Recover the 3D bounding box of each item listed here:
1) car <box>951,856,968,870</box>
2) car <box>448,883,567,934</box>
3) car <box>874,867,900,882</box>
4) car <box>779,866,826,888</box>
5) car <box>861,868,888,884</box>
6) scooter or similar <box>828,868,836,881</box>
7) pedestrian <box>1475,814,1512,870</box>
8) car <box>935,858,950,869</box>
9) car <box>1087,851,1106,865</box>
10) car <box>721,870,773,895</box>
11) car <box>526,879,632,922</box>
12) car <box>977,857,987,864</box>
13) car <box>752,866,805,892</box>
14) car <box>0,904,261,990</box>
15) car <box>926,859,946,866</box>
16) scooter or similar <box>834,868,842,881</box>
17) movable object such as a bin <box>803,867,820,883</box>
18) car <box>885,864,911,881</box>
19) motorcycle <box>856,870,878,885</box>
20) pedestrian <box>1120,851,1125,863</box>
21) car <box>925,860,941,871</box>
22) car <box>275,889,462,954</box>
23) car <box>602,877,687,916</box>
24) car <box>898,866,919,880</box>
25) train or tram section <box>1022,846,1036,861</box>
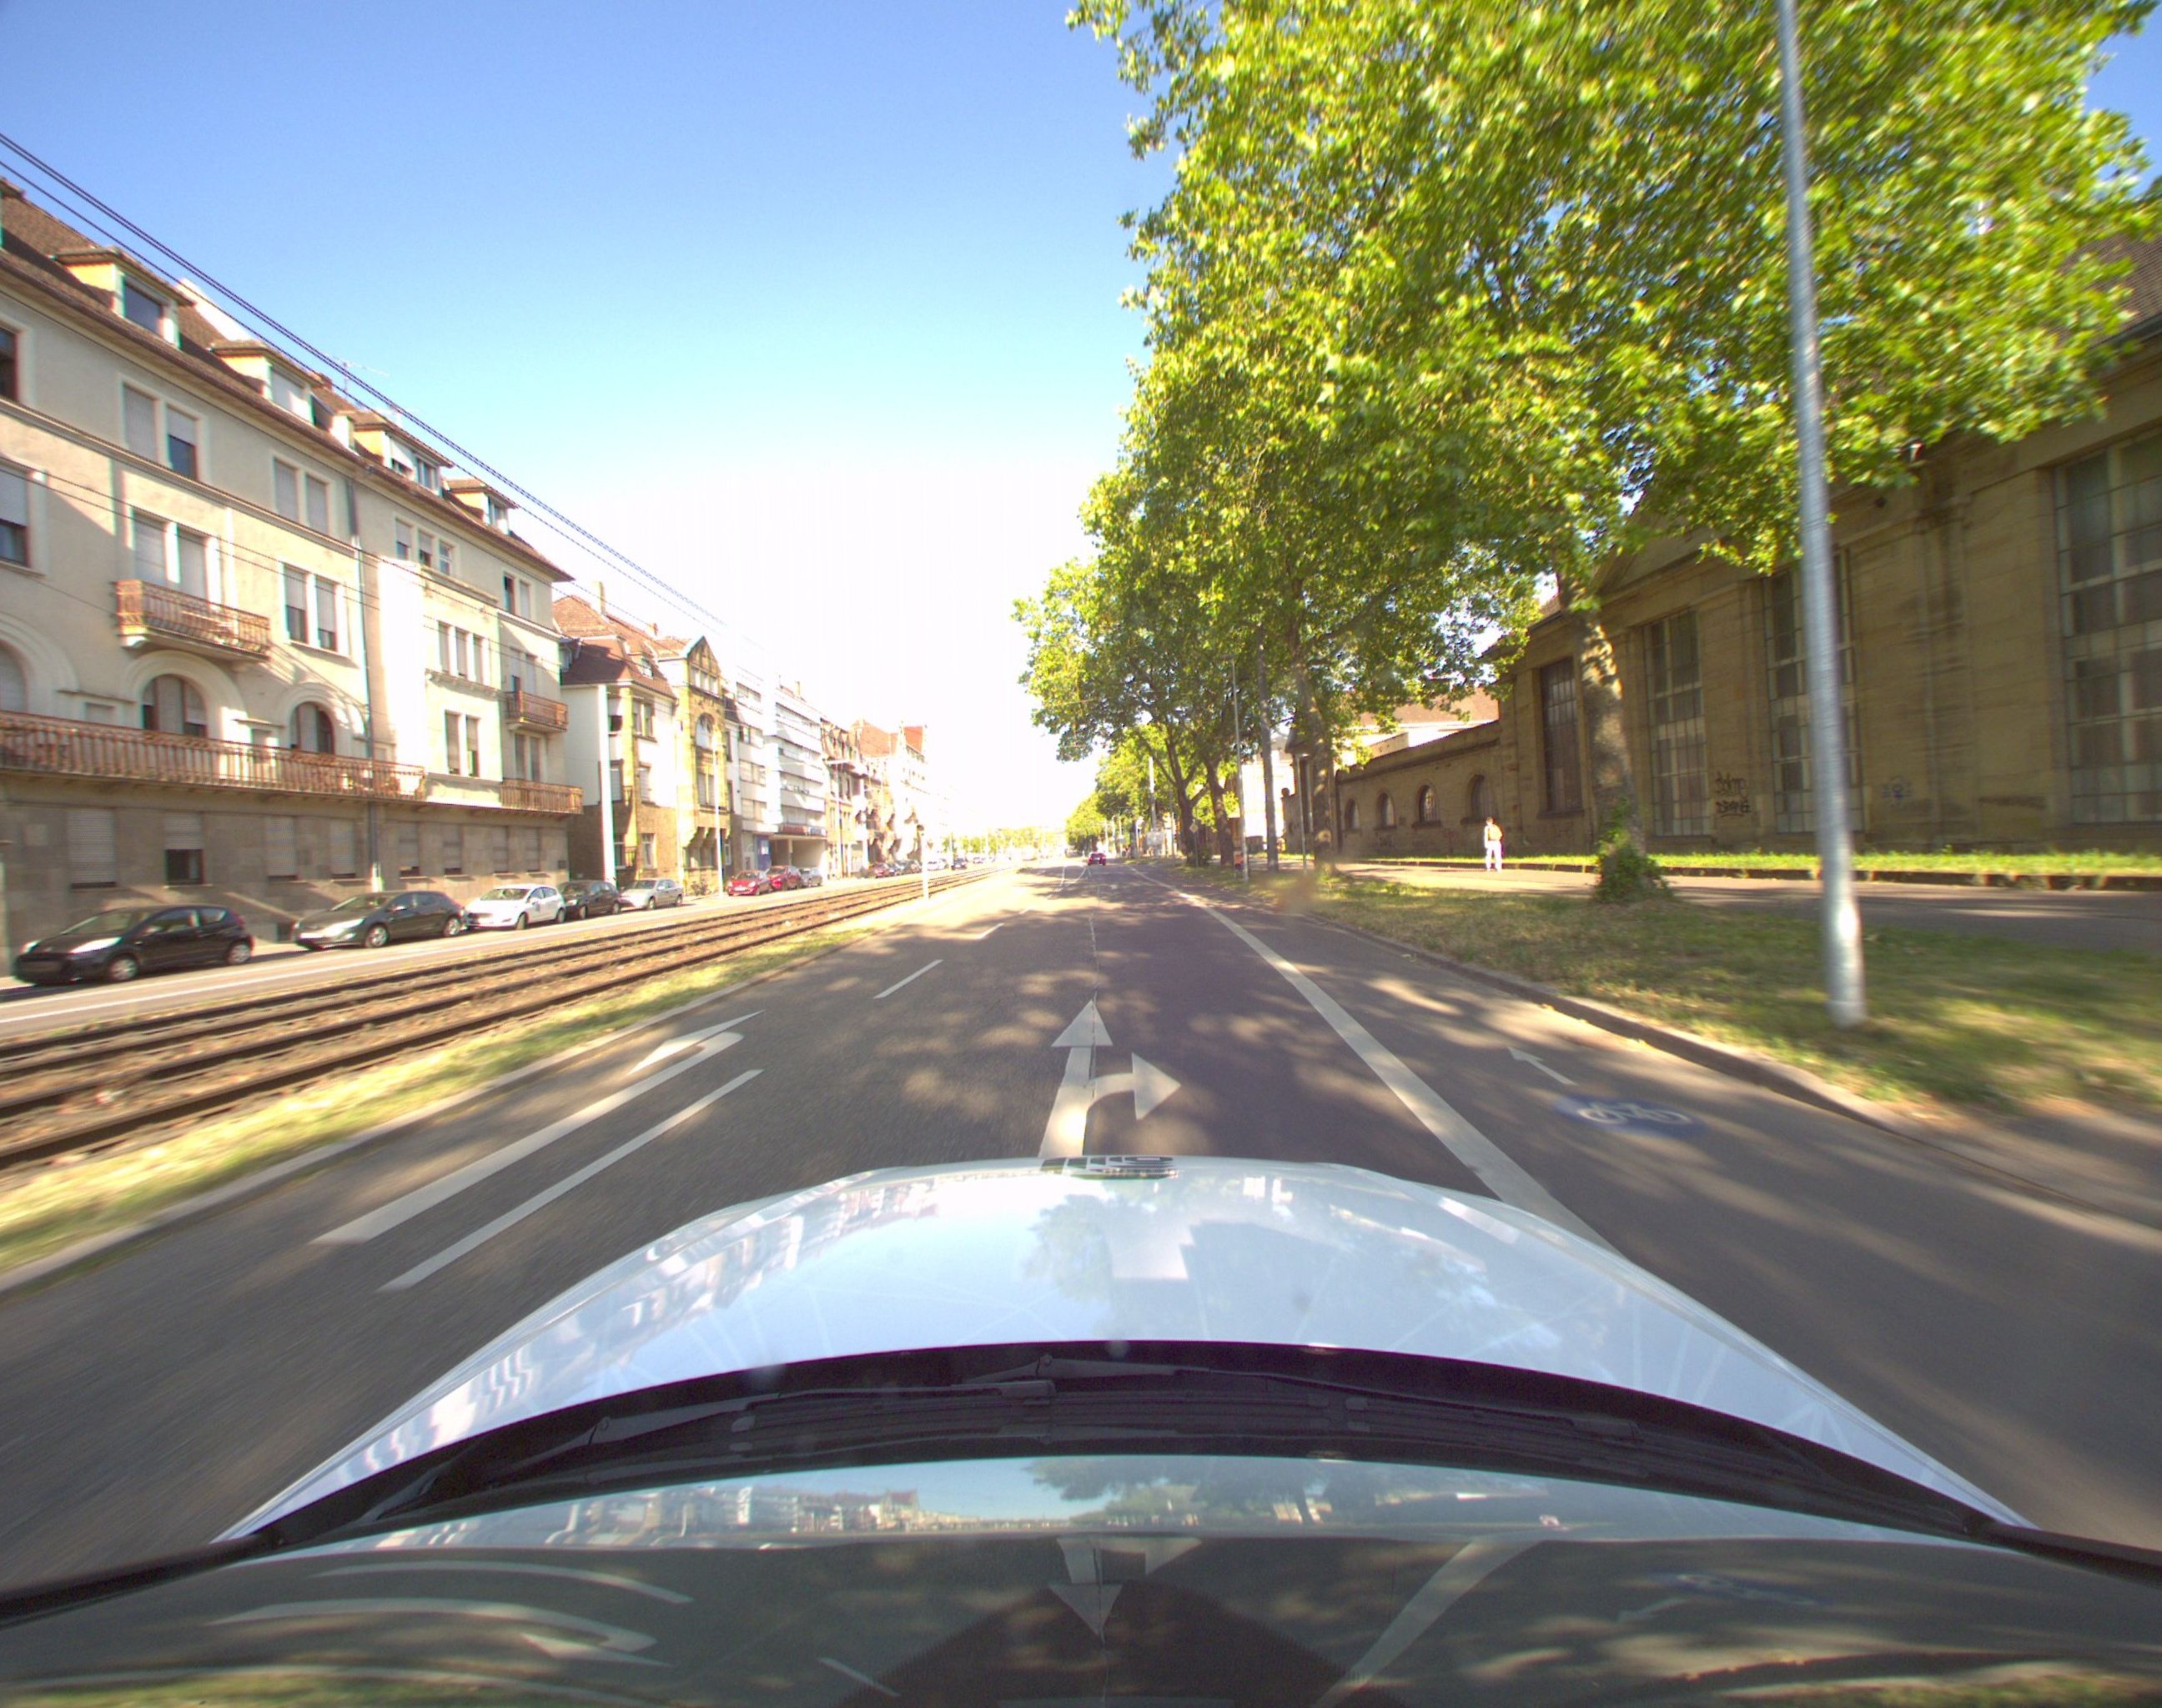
[{"bbox_3d":[-15.754,1.164,105.663,1.631,1.601,4.155,-4,0,-3],"label":"car"},{"bbox_3d":[-19.378,1.789,27.730,1.634,1.469,3.972,0,0,-8],"label":"car"},{"bbox_3d":[-20.783,2.216,87.379,1.789,1.510,3.998,0,0,-1],"label":"car"},{"bbox_3d":[-20.311,1.632,59.608,1.828,1.391,4.679,-3,0,-1],"label":"car"},{"bbox_3d":[-20.751,2.204,82.004,1.789,1.460,4.263,0,0,-2],"label":"car"},{"bbox_3d":[-23.842,1.950,78.076,0.390,1.205,1.200,0,0,0],"label":"scooter or similar"},{"bbox_3d":[12.891,-0.372,25.459,0.606,1.681,0.635,-7,0,-3],"label":"pedestrian"},{"bbox_3d":[-21.530,1.474,126.870,1.789,1.719,4.181,0,0,-2],"label":"car"},{"bbox_3d":[1.652,0.451,88.371,1.828,1.391,4.156,-3,0,-1],"label":"car"},{"bbox_3d":[-20.083,1.699,49.123,1.831,1.391,4.027,0,0,-6],"label":"car"},{"bbox_3d":[-19.734,1.782,32.213,1.631,1.469,4.156,-2,-1,-1],"label":"car"},{"bbox_3d":[-23.504,1.544,193.347,1.790,1.510,3.995,-3,0,-3],"label":"car"},{"bbox_3d":[-20.174,1.641,54.452,1.827,1.558,4.352,-2,0,0],"label":"car"},{"bbox_3d":[-19.899,1.877,17.214,1.623,1.391,3.506,0,0,-2],"label":"car"},{"bbox_3d":[-30.333,1.759,170.560,3.982,1.510,1.796,-1,-1,-6],"label":"car"},{"bbox_3d":[-23.278,1.946,78.018,0.390,1.205,1.200,0,0,0],"label":"scooter or similar"},{"bbox_3d":[-25.305,1.976,76.422,1.410,1.371,0.633,-2,0,-8],"label":"movable object such as a bin"},{"bbox_3d":[-20.772,2.096,92.452,1.787,1.754,4.457,0,0,2],"label":"car"},{"bbox_3d":[-20.761,2.263,78.957,2.072,1.327,0.836,0,0,-17],"label":"motorcycle"},{"bbox_3d":[6.279,0.457,122.096,0.584,1.728,0.652,-1,0,12],"label":"pedestrian"},{"bbox_3d":[-21.009,1.601,115.762,1.791,1.510,3.993,0,0,-5],"label":"car"},{"bbox_3d":[-19.784,1.819,22.892,1.630,1.469,4.156,0,0,-1],"label":"car"},{"bbox_3d":[-19.859,1.883,37.269,1.630,1.469,4.158,-2,1,0],"label":"car"},{"bbox_3d":[-20.747,2.276,98.151,1.681,1.652,4.197,0,0,-1],"label":"car"},{"bbox_3d":[-12.972,-0.111,203.506,2.817,3.450,9.061,-3,0,-1],"label":"train or tram section"}]
